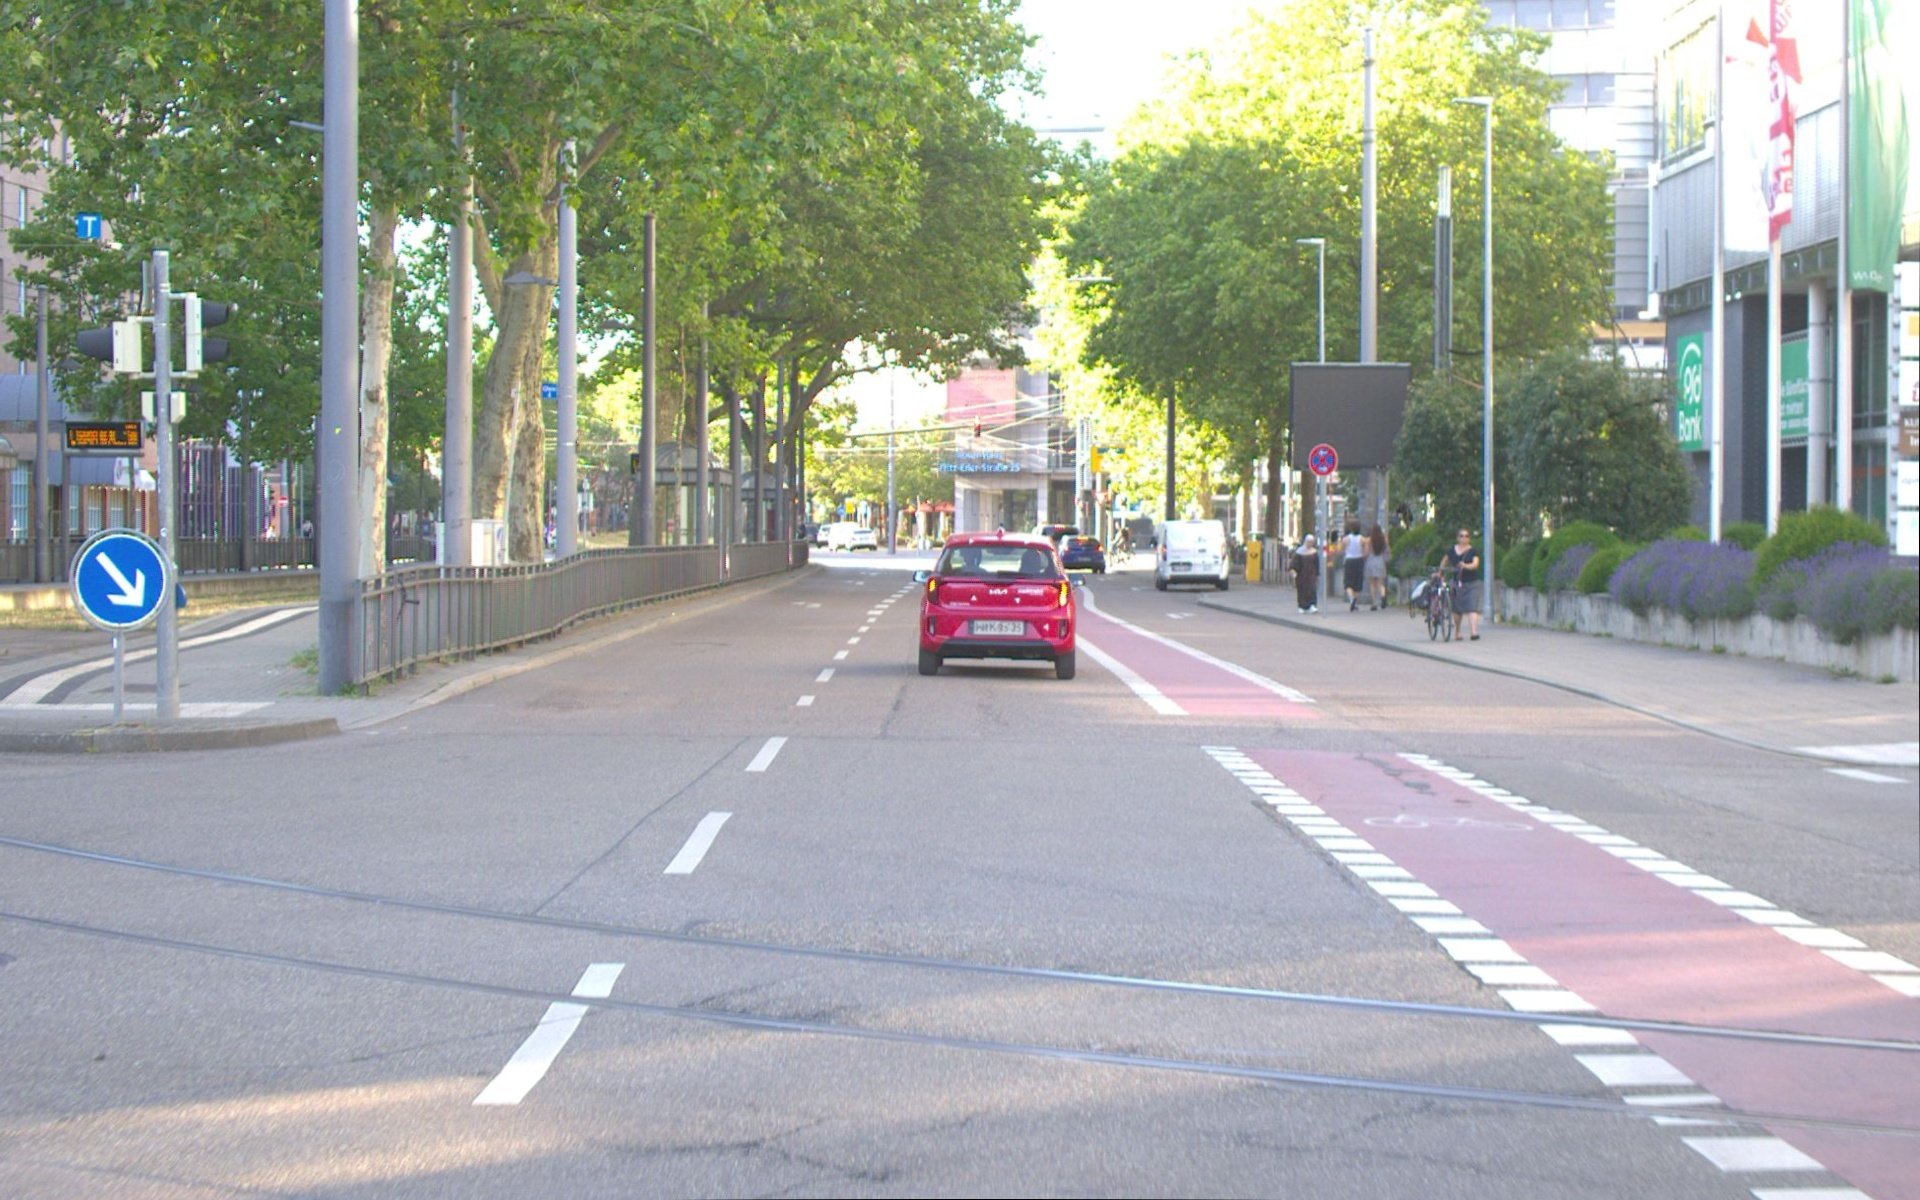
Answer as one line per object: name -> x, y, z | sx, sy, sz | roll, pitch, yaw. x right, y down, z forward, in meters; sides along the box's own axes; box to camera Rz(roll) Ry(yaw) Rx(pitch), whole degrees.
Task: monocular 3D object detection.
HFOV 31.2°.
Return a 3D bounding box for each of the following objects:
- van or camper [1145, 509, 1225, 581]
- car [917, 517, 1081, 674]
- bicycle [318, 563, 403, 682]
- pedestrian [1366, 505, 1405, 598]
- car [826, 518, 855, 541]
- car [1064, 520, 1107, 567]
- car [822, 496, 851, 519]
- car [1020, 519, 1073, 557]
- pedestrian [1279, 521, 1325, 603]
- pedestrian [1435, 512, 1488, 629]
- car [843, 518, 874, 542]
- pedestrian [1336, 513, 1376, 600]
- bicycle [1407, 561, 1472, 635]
van or camper -> 6.420, -1.588, 98.413 | 1.993, 1.982, 4.745 | 1, 1, 1
car -> 0.374, -0.084, 36.061 | 1.613, 1.529, 3.412 | 1, 1, 0
bicycle -> -5.249, 0.186, 30.167 | 0.395, 0.945, 1.351 | 0, 4, 5
pedestrian -> 8.406, -0.965, 67.916 | 0.540, 1.790, 0.907 | -3, 1, -2
car -> -8.000, -4.723, 230.011 | 1.777, 1.529, 3.412 | 1, 1, -5
car -> 4.829, -2.196, 132.528 | 1.635, 1.794, 3.330 | 0, 1, 2
car -> -8.465, -6.358, 235.987 | 1.777, 1.583, 3.412 | 1, 1, -5
car -> 3.569, -2.571, 141.777 | 1.777, 1.529, 3.513 | 1, 1, -5
pedestrian -> 6.756, -0.746, 67.953 | 0.641, 1.574, 0.723 | -4, 1, -10
pedestrian -> 7.224, -0.434, 49.511 | 0.646, 1.674, 0.651 | 0, 1, -2
car -> -6.623, -4.546, 223.423 | 1.777, 1.529, 3.412 | 1, 1, -5
pedestrian -> 7.825, -0.863, 67.952 | 0.564, 1.696, 0.907 | -3, 1, -2
bicycle -> 6.882, -0.045, 49.455 | 0.520, 0.971, 2.202 | -3, 2, -1
